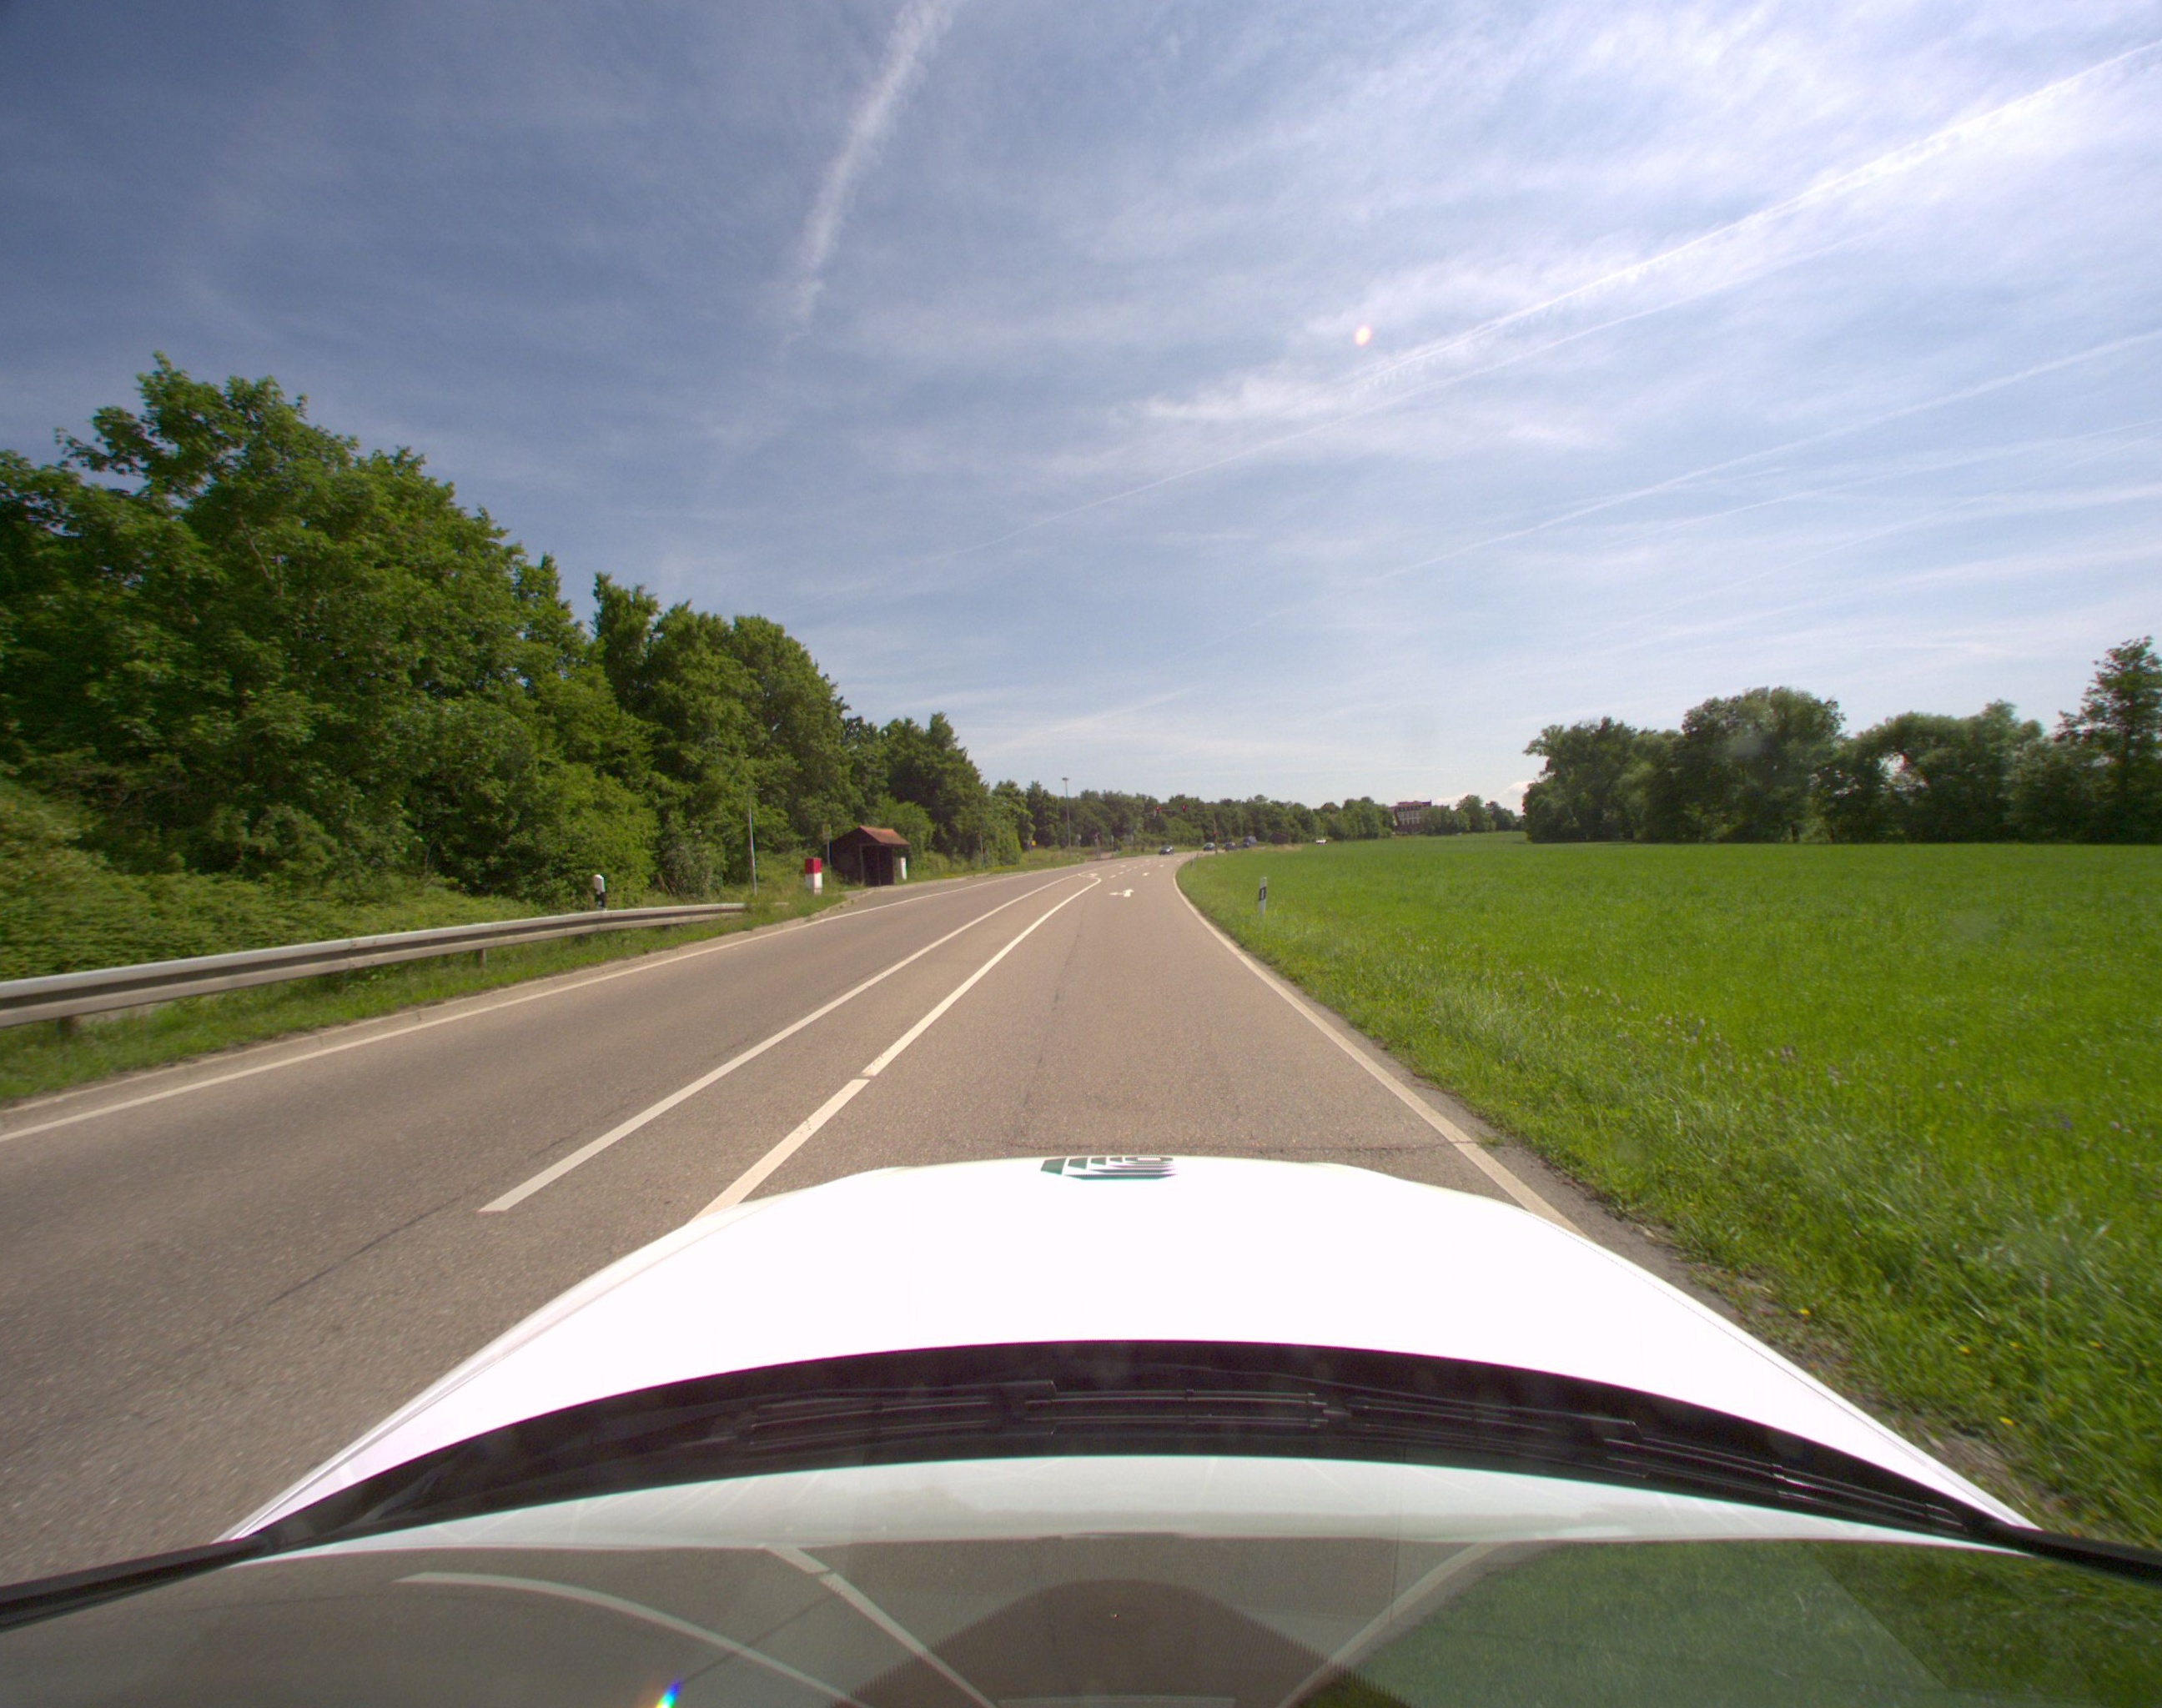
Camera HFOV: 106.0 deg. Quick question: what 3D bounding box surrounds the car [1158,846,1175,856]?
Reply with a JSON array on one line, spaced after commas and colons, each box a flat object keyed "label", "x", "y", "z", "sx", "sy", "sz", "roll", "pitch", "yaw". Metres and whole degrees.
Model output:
[{"label": "car", "x": 13.698, "y": -0.445, "z": 130.173, "sx": 1.776, "sy": 1.474, "sz": 4.332, "roll": -2, "pitch": 0, "yaw": 20}]

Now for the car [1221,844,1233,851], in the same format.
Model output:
[{"label": "car", "x": 31.758, "y": -1.442, "z": 177.039, "sx": 1.691, "sy": 1.483, "sz": 3.854, "roll": -2, "pitch": 0, "yaw": 24}]

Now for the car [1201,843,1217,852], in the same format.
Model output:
[{"label": "car", "x": 25.207, "y": -1.265, "z": 160.131, "sx": 1.956, "sy": 1.562, "sz": 4.214, "roll": -2, "pitch": 0, "yaw": 27}]

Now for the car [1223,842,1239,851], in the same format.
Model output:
[{"label": "car", "x": 27.595, "y": -1.446, "z": 149.415, "sx": 1.976, "sy": 1.574, "sz": 4.023, "roll": -2, "pitch": 0, "yaw": 24}]

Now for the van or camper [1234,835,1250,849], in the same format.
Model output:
[{"label": "van or camper", "x": 38.338, "y": -2.844, "z": 193.358, "sx": 2.220, "sy": 2.913, "sz": 7.288, "roll": -2, "pitch": 2, "yaw": 23}]
